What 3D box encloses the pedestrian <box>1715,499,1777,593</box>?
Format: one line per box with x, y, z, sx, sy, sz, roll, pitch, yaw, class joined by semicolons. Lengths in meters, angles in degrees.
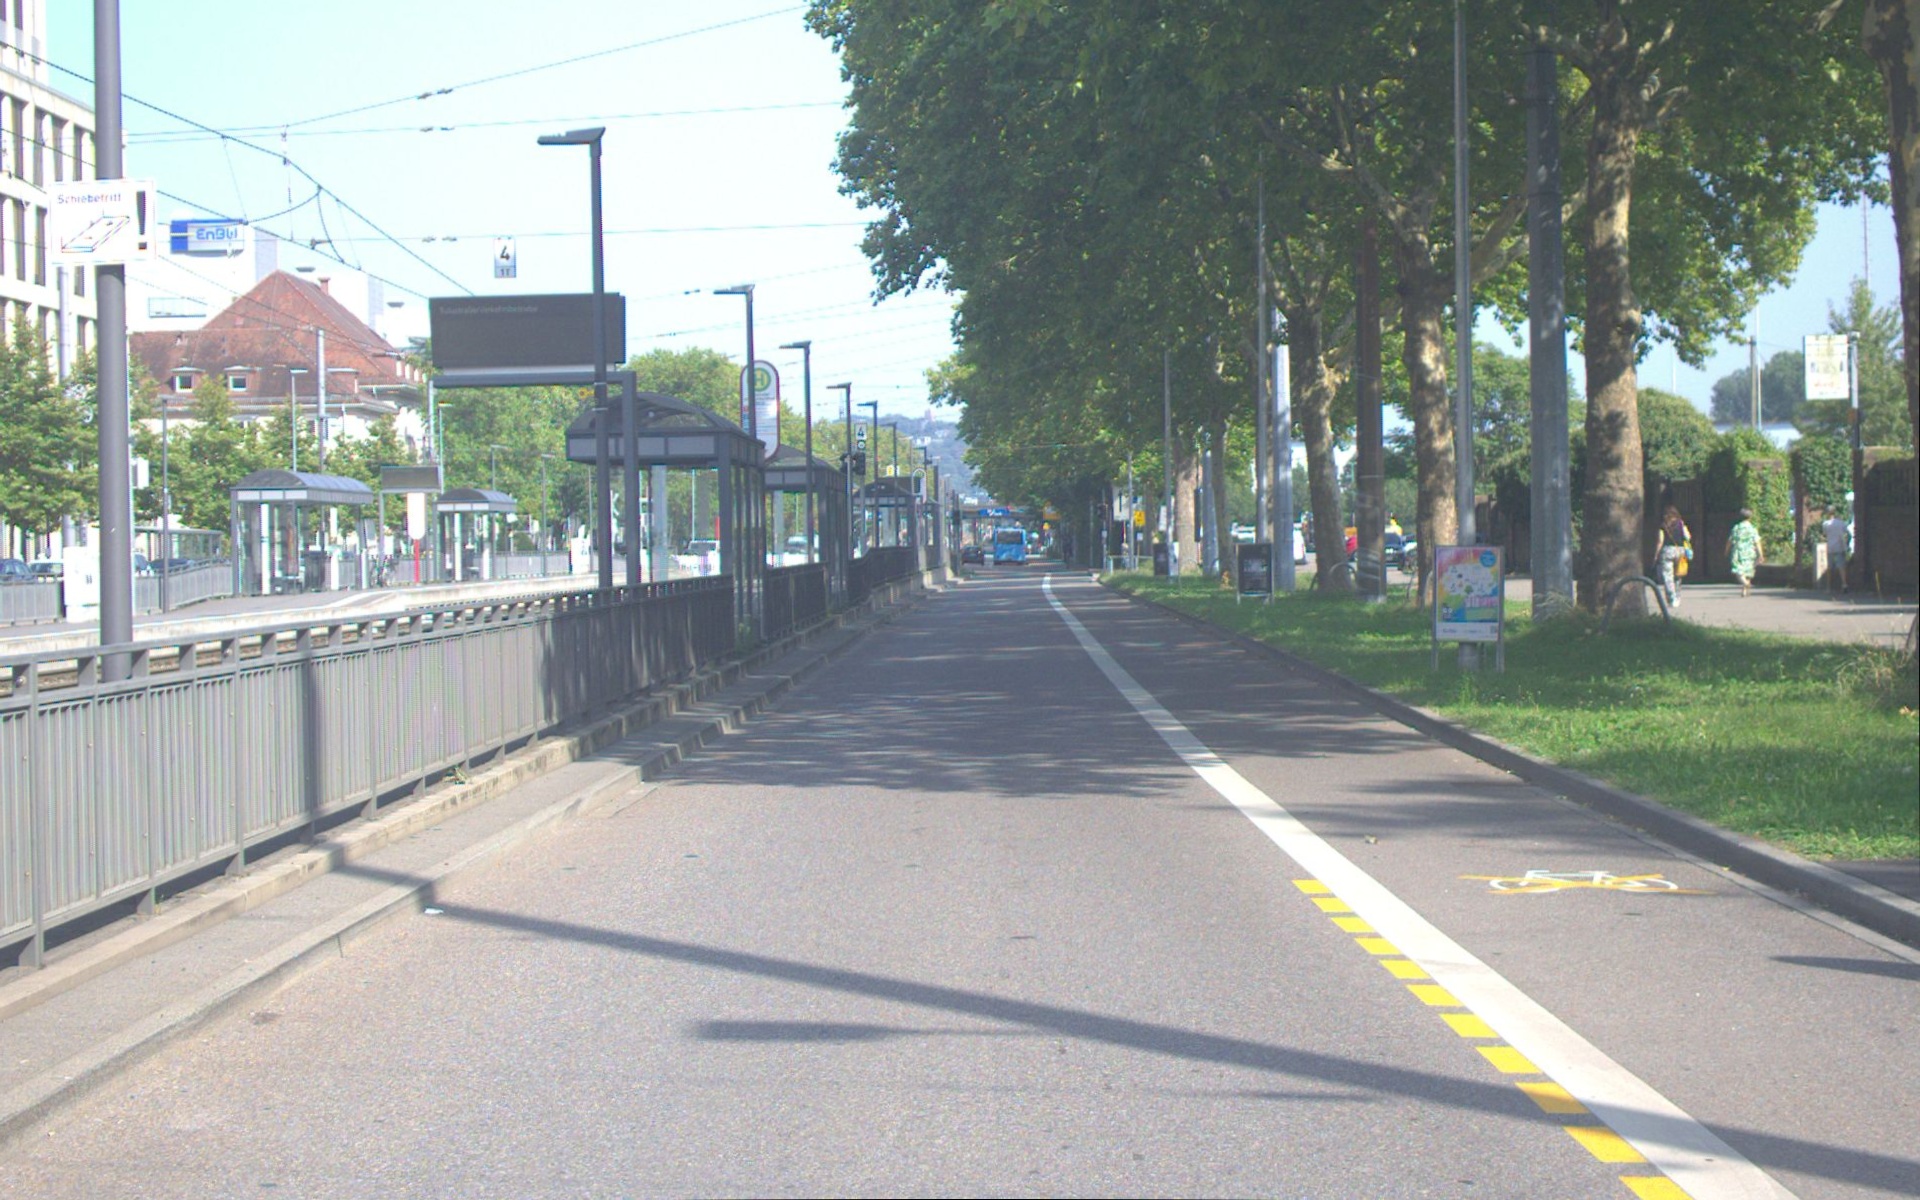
13.775;-0.938;60.276;0.806;1.598;0.947;-3;1;1;pedestrian

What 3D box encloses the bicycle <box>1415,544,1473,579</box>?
14.444;-1.139;102.552;1.656;0.966;0.506;-3;1;7;bicycle

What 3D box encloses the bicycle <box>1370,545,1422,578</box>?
13.505;-1.184;106.450;0.505;0.966;1.661;-3;1;-40;bicycle

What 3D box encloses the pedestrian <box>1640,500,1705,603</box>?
11.627;-0.793;56.134;0.806;1.630;0.947;-3;1;1;pedestrian

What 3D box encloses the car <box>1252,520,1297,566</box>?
14.407;-2.617;157.523;1.722;2.041;4.461;-1;1;1;car

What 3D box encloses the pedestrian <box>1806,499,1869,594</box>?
15.289;-0.931;59.927;0.806;1.598;0.947;-3;1;1;pedestrian

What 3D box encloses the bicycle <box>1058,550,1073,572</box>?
5.240;-1.949;171.282;0.715;1.104;2.509;0;0;1;bicycle

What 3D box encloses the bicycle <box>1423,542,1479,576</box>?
15.259;-1.281;106.918;1.656;0.966;0.506;-3;1;4;bicycle

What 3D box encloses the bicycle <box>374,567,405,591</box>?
-16.339;-0.613;98.524;0.477;0.660;1.613;-1;1;5;bicycle

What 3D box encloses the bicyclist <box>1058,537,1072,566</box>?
5.240;-2.403;171.316;0.705;1.456;1.009;0;0;1;bicyclist
